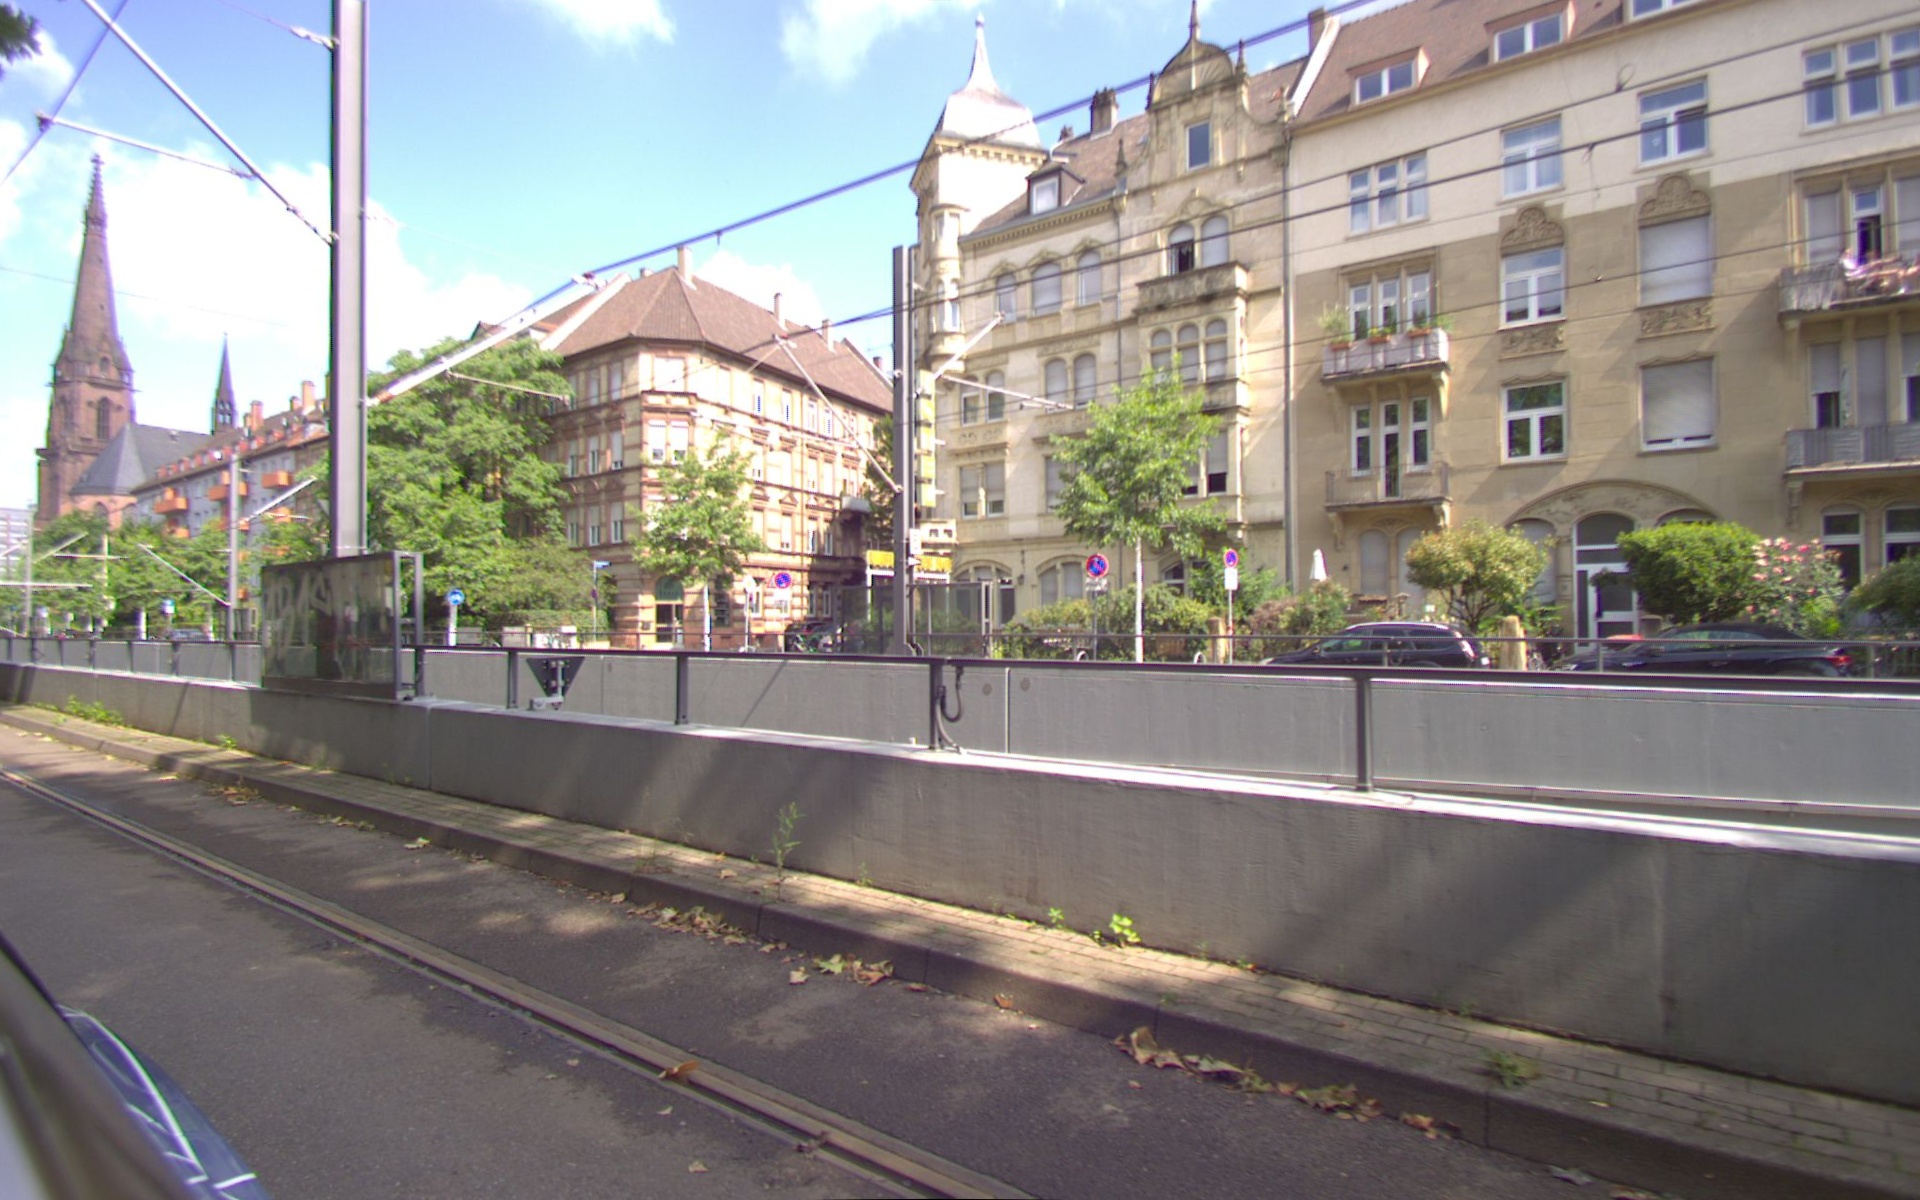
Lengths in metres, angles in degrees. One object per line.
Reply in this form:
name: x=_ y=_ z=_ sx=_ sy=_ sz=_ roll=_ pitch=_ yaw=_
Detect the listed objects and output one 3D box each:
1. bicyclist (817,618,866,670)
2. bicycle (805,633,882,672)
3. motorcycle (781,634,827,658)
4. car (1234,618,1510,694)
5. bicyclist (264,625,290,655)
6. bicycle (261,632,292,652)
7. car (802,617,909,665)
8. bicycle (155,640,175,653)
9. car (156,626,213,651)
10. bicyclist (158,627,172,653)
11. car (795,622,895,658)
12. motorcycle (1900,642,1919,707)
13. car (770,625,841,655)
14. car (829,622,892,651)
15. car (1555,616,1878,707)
bicyclist: x=-3.166 y=1.180 z=27.061 sx=1.047 sy=1.348 sz=0.760 roll=-2 pitch=-4 yaw=39
bicycle: x=-3.126 y=1.390 z=27.013 sx=2.138 sy=0.986 sz=0.768 roll=-1 pitch=-4 yaw=39
motorcycle: x=-6.468 y=1.899 z=41.914 sx=1.990 sy=1.002 sz=0.519 roll=-1 pitch=-2 yaw=26
car: x=8.074 y=1.050 z=20.063 sx=4.720 sy=1.337 sz=1.930 roll=-2 pitch=-2 yaw=39
bicyclist: x=-34.015 y=2.004 z=50.406 sx=0.976 sy=1.490 sz=0.731 roll=-2 pitch=-4 yaw=38
bicycle: x=-34.075 y=2.095 z=50.445 sx=1.896 sy=1.003 sz=0.719 roll=-2 pitch=-3 yaw=38
car: x=-3.744 y=1.450 z=36.855 sx=2.028 sy=1.618 sz=3.923 roll=-1 pitch=-1 yaw=29
bicycle: x=-48.336 y=2.821 z=61.528 sx=1.814 sy=0.774 sz=0.491 roll=-2 pitch=-2 yaw=38
car: x=-51.215 y=2.528 z=66.826 sx=4.108 sy=1.650 sz=1.975 roll=-2 pitch=-2 yaw=38
bicyclist: x=-48.292 y=2.428 z=61.467 sx=0.606 sy=1.556 sz=0.499 roll=-2 pitch=-2 yaw=37
car: x=-5.057 y=1.752 z=44.412 sx=4.115 sy=1.532 sz=1.669 roll=-1 pitch=-2 yaw=26
motorcycle: x=14.962 y=1.111 z=14.908 sx=1.415 sy=0.949 sz=1.744 roll=-1 pitch=-4 yaw=37
car: x=-8.304 y=2.135 z=54.745 sx=1.915 sy=1.547 sz=3.967 roll=0 pitch=-1 yaw=25
car: x=-5.890 y=2.155 z=60.268 sx=1.918 sy=1.687 sz=3.963 roll=-1 pitch=-2 yaw=27
car: x=12.406 y=0.964 z=16.904 sx=4.092 sy=1.337 sz=2.001 roll=-2 pitch=-2 yaw=36
